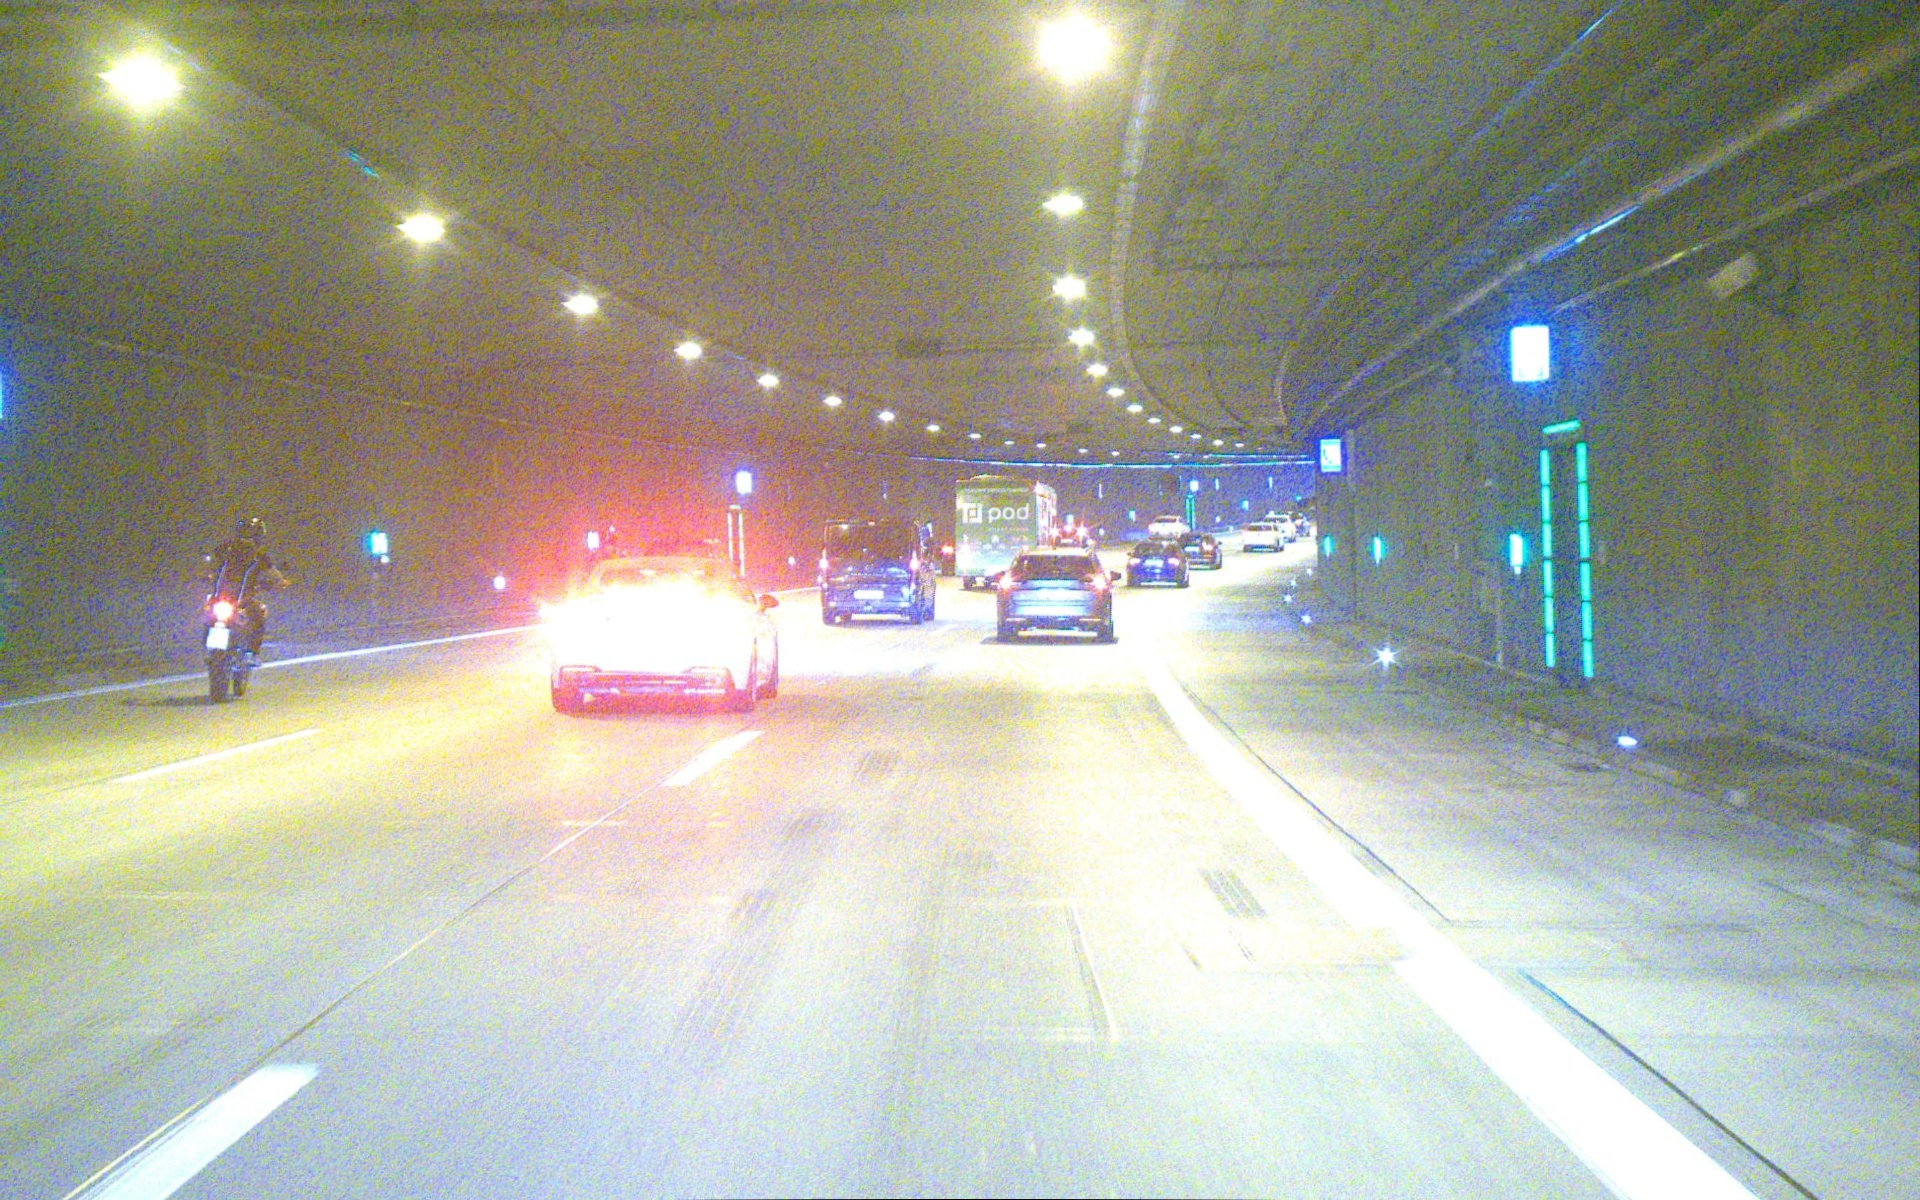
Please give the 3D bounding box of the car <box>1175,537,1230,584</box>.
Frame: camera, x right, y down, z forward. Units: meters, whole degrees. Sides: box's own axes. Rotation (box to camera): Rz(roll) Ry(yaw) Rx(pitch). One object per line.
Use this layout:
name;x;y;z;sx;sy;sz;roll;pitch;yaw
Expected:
car;9.376;-1.520;132.887;1.950;1.766;3.999;0;0;6

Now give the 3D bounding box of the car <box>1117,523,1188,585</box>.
car;5.876;-1.401;104.507;1.857;1.848;3.999;1;1;7

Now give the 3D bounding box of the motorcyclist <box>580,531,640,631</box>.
motorcyclist;-5.161;-0.280;50.613;0.806;1.443;1.866;0;0;-8

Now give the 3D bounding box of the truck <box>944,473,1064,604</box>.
truck;1.359;-1.802;100.992;3.039;3.660;7.392;1;1;4

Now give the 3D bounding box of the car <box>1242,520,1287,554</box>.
car;14.997;-3.084;169.183;1.931;1.637;3.999;0;0;8

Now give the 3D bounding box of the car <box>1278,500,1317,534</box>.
car;20.197;-4.954;205.605;1.994;2.007;3.998;0;0;10

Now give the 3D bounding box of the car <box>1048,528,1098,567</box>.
car;4.971;-2.303;150.421;1.931;1.637;3.999;1;1;5

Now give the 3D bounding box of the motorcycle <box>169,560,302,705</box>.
motorcycle;-6.737;0.279;32.075;0.683;1.292;2.399;0;1;1

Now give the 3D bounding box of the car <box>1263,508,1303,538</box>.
car;17.982;-4.262;191.163;1.994;1.626;3.999;0;0;8

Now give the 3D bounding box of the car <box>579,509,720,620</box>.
car;-5.810;-0.685;64.849;1.994;2.007;3.999;1;1;4

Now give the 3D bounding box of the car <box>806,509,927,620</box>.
car;-1.720;-0.696;64.385;1.910;1.937;3.871;0;3;4

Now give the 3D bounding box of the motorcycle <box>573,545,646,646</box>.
motorcycle;-5.176;-0.086;50.593;0.926;1.429;2.964;1;1;-8

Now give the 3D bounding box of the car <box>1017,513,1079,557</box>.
car;3.364;-2.484;131.225;1.994;1.626;3.999;1;1;7

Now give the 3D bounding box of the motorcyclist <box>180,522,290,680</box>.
motorcyclist;-6.769;0.004;32.148;0.777;1.447;1.069;0;0;1

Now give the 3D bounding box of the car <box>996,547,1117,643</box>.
car;1.562;-0.082;54.480;1.742;1.459;3.870;0;0;4

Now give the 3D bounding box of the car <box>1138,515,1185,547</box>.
car;10.816;-3.675;184.141;1.931;1.637;3.998;1;0;12

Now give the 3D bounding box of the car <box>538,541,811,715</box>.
car;-2.580;0.201;32.287;1.702;1.414;5.060;0;2;5
